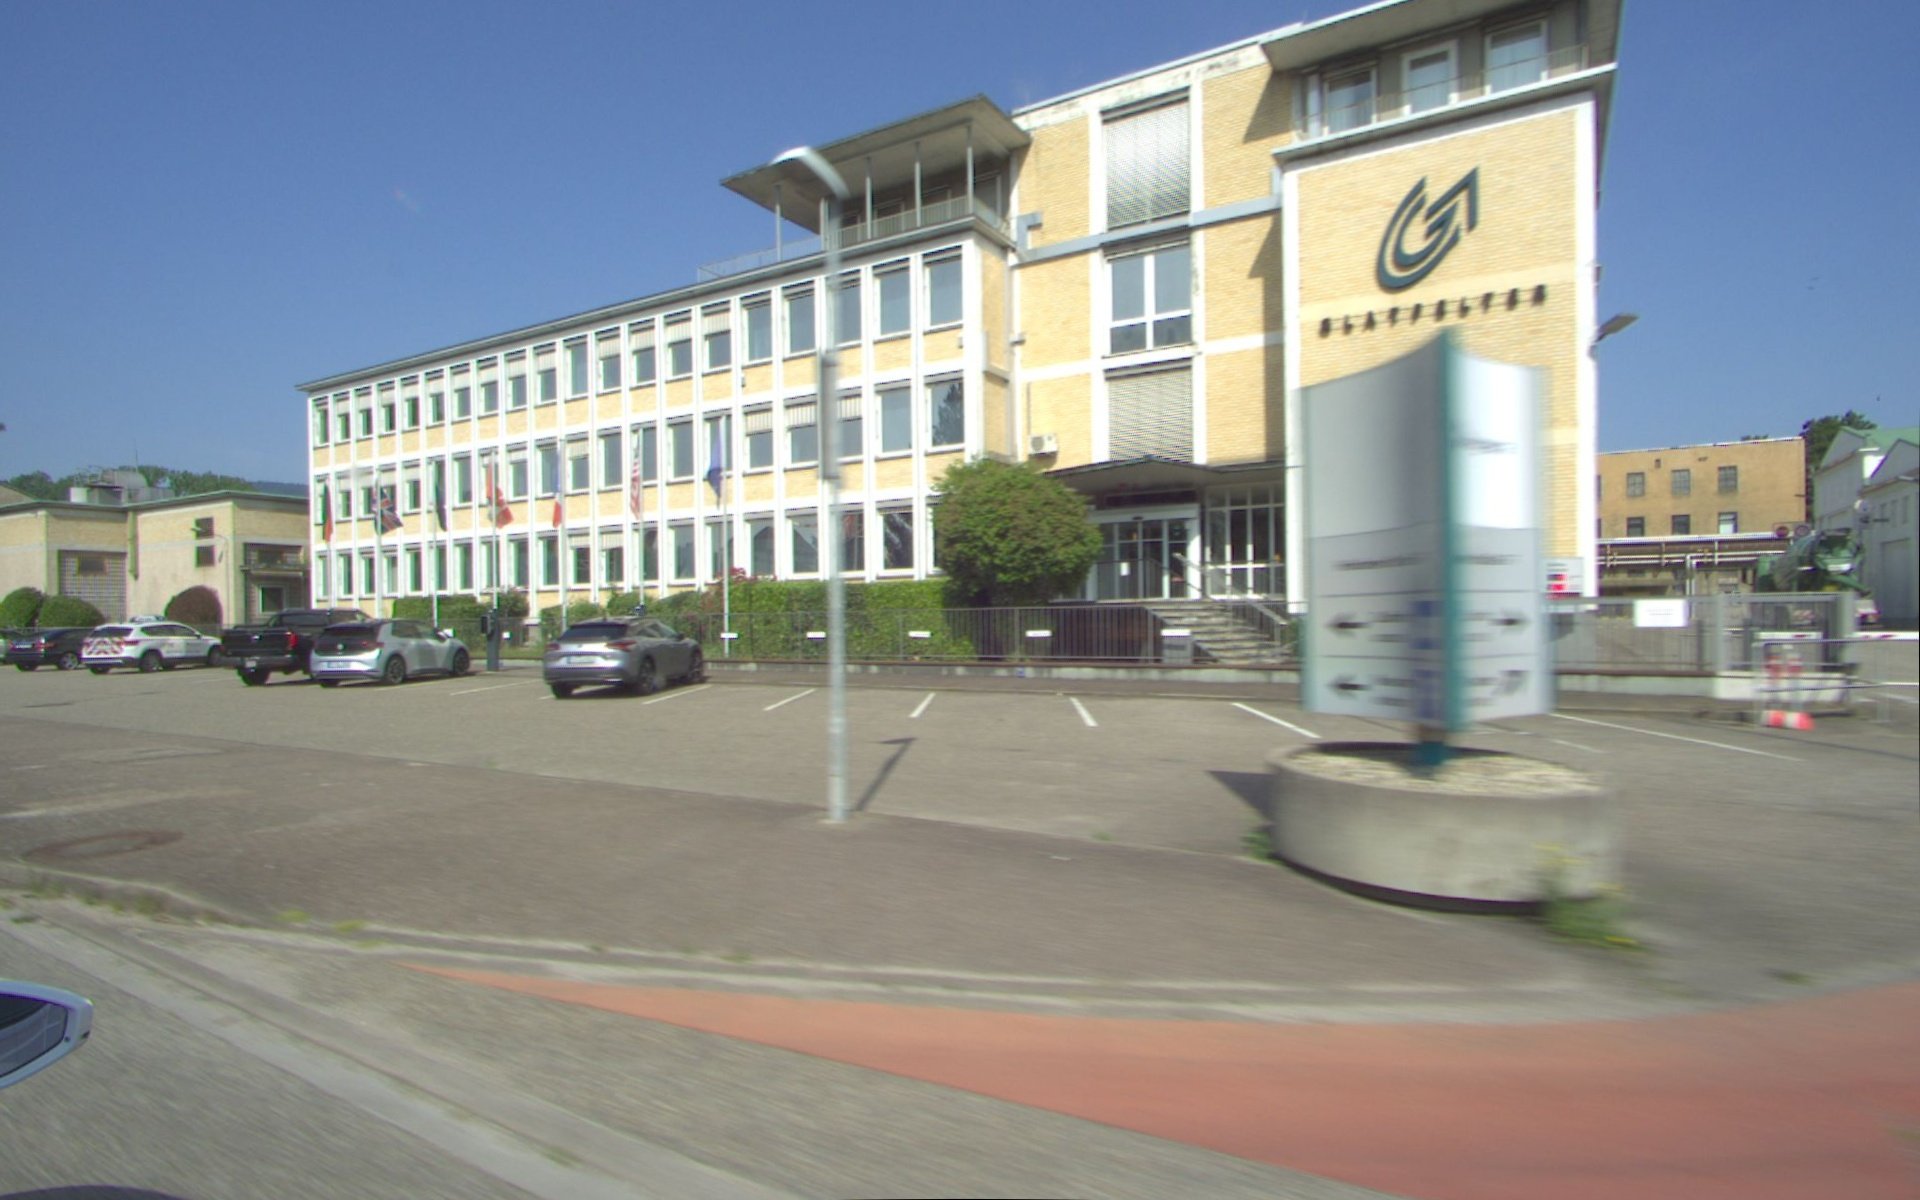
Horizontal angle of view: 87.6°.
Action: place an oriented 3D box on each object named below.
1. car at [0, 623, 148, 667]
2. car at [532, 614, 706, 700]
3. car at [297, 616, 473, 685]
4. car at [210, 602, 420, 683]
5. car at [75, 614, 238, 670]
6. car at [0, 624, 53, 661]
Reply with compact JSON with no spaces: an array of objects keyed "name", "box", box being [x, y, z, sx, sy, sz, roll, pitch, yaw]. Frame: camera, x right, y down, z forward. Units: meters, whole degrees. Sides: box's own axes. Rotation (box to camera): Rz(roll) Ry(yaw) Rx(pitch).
[{"name":"car","box":[-30.745,1.524,34.921,1.631,1.419,4.001,0,-1,0]},{"name":"car","box":[-6.657,1.044,20.077,1.849,1.524,4.312,-1,-1,2]},{"name":"car","box":[-13.795,1.150,24.334,1.849,1.524,4.000,-1,-1,2]},{"name":"car","box":[-16.177,1.015,25.536,1.944,1.856,5.037,-1,-1,2]},{"name":"car","box":[-25.783,1.312,32.326,1.833,1.694,4.174,0,-1,2]},{"name":"car","box":[-37.783,1.635,38.825,1.631,1.419,4.001,0,-1,0]}]
